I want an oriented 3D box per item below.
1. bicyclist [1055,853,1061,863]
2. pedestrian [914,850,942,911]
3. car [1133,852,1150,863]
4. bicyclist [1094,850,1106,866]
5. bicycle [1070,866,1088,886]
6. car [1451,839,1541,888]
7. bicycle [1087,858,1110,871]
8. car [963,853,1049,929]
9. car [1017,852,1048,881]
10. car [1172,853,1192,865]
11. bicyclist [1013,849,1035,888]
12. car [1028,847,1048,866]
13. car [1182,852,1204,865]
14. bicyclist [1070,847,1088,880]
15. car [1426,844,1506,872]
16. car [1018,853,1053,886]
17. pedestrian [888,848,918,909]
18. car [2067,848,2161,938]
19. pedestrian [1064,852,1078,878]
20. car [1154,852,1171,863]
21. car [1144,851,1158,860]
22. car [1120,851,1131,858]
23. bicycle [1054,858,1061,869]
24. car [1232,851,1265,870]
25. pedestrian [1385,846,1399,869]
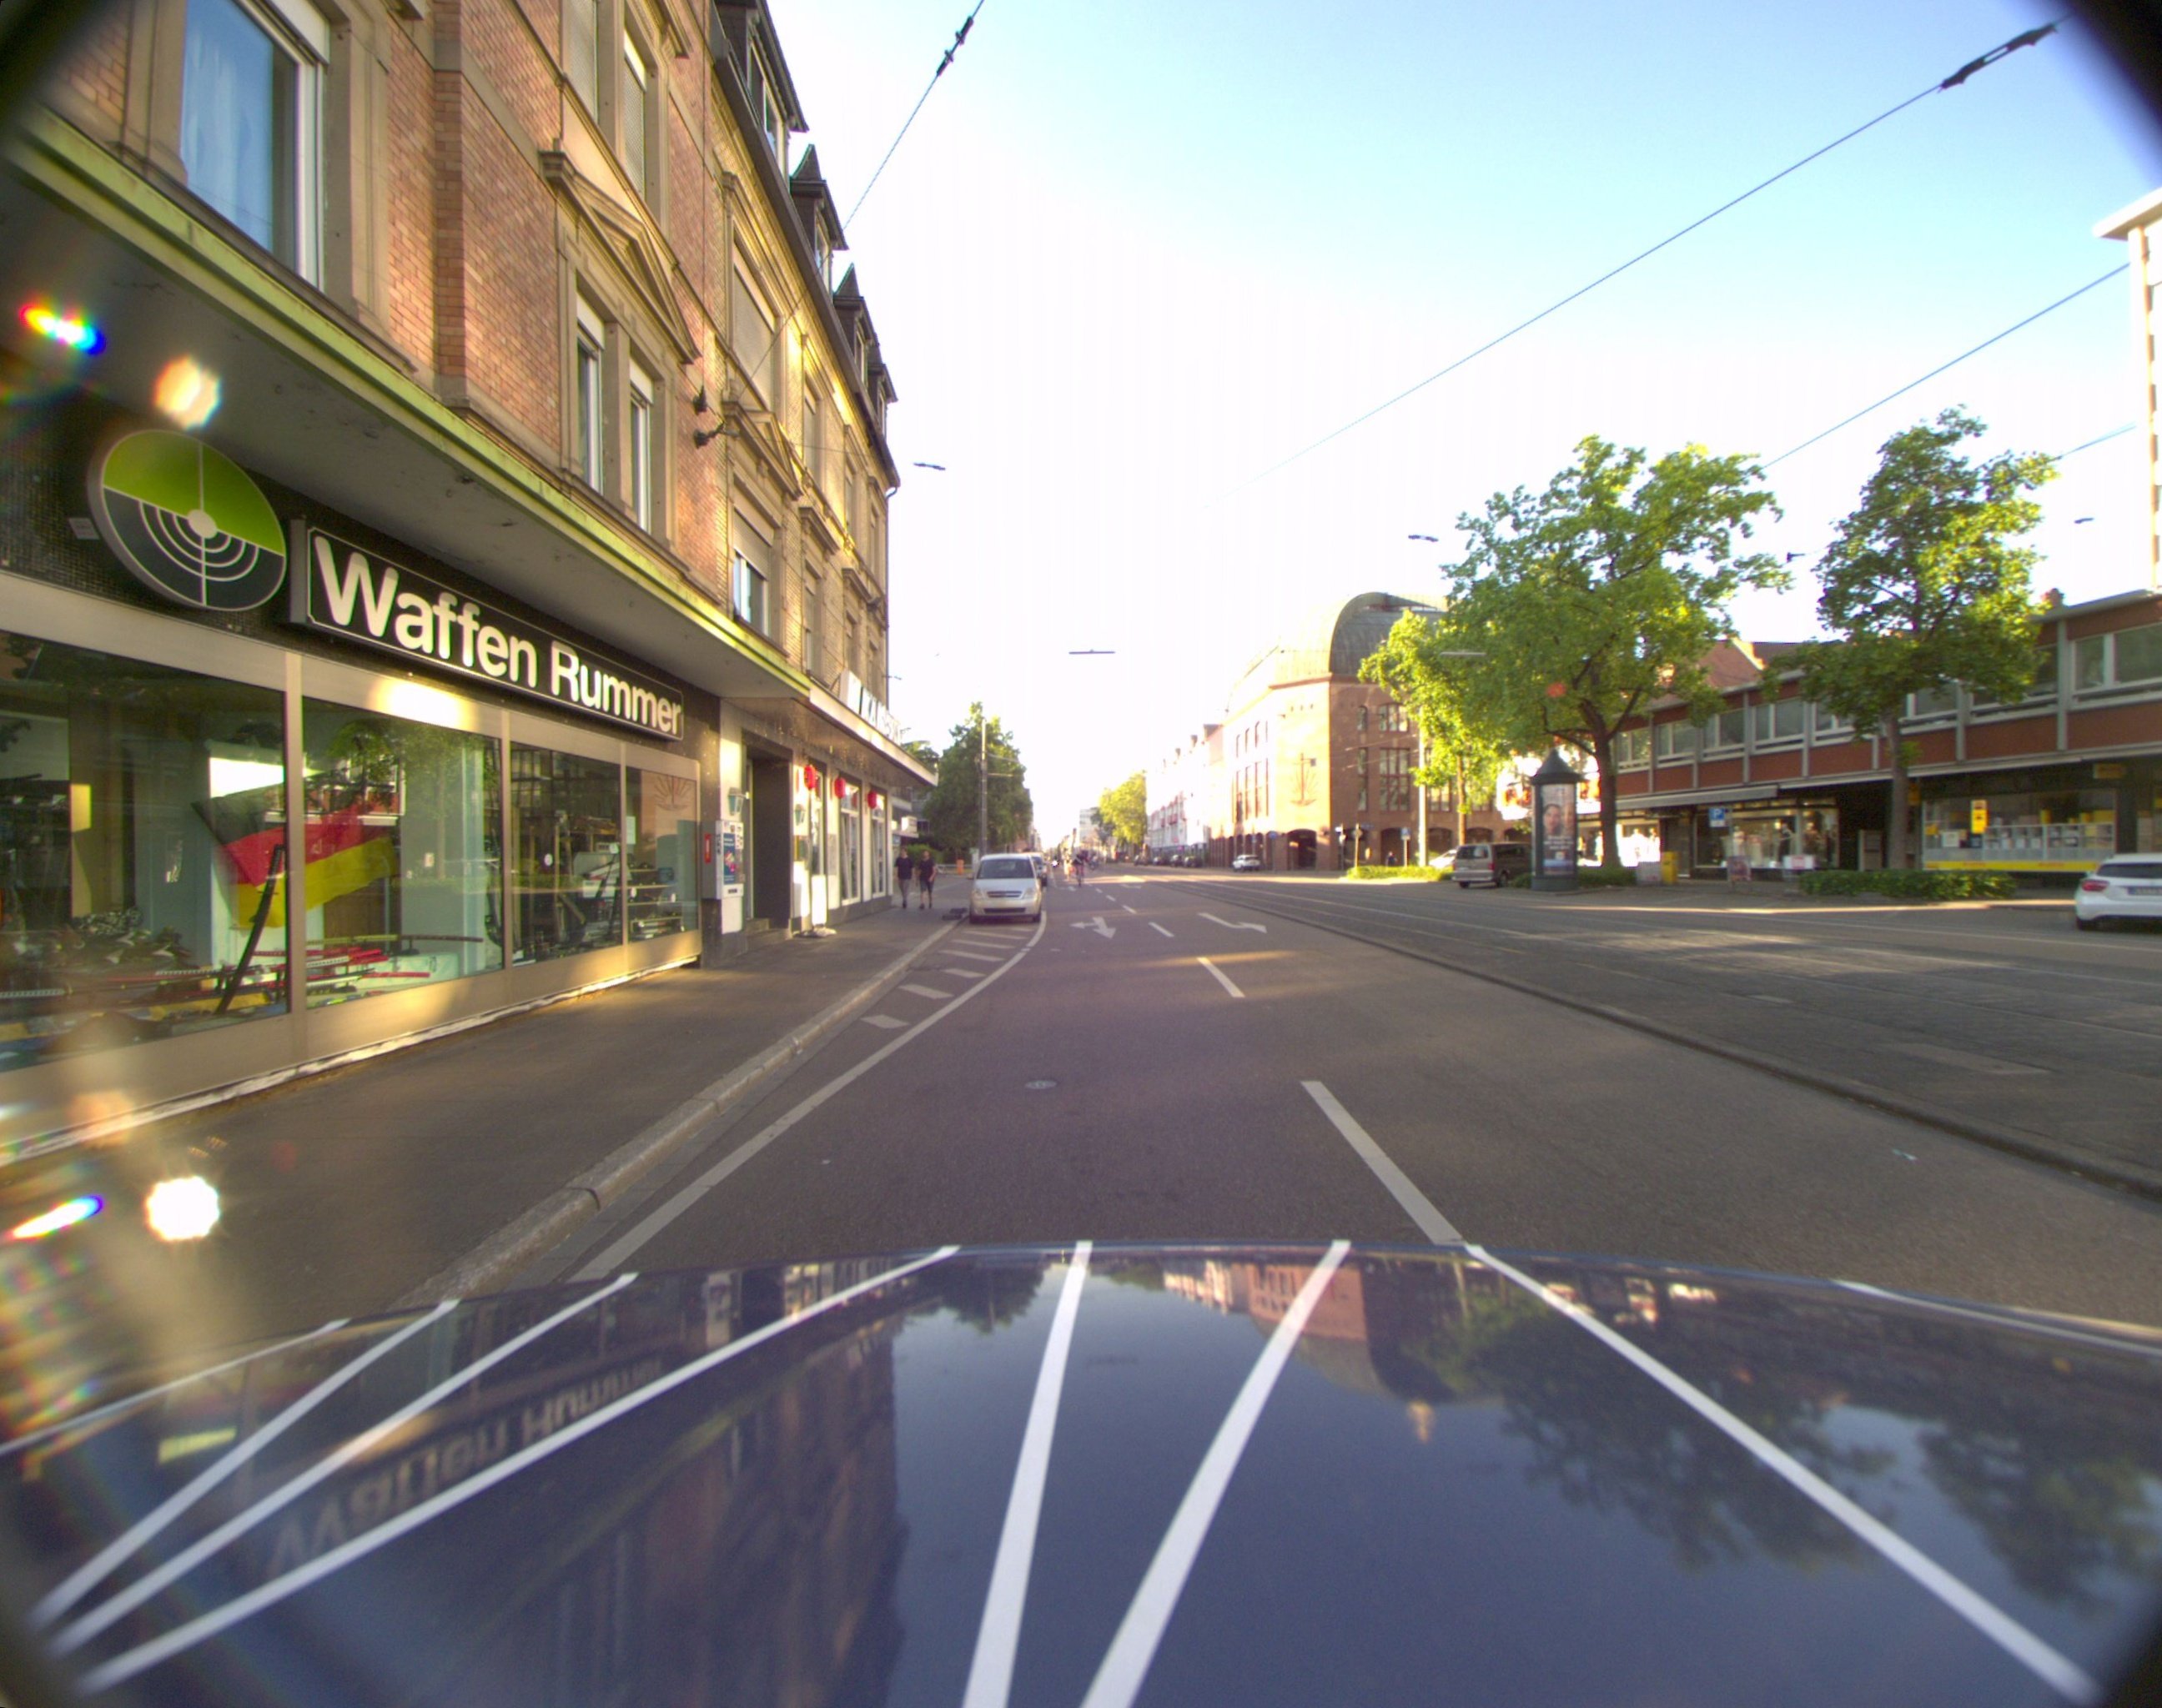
[{"bbox_3d":[-2.537,0.455,84.268,0.646,1.176,0.722,0,0,-5],"label":"bicyclist"},{"bbox_3d":[-4.406,0.749,21.880,0.701,1.713,0.502,1,1,-1],"label":"pedestrian"},{"bbox_3d":[9.152,0.483,116.106,1.965,1.594,3.998,-2,1,-4],"label":"car"},{"bbox_3d":[1.705,0.389,67.788,0.762,1.414,0.674,0,1,34],"label":"bicyclist"},{"bbox_3d":[-0.082,1.090,38.546,0.886,0.949,1.765,0,0,1],"label":"bicycle"},{"bbox_3d":[18.141,0.372,33.166,4.007,1.953,1.906,-2,1,-37],"label":"car"},{"bbox_3d":[1.563,0.948,67.892,2.033,1.085,0.674,0,1,34],"label":"bicycle"},{"bbox_3d":[-1.757,0.814,18.885,1.671,1.674,4.000,-1,0,1],"label":"car"},{"bbox_3d":[-2.916,0.714,46.313,1.671,1.674,3.999,-1,0,-1],"label":"car"},{"bbox_3d":[13.834,0.702,104.541,1.965,1.594,3.998,-2,1,-4],"label":"car"},{"bbox_3d":[-2.114,0.527,28.449,0.682,1.434,0.944,-2,1,1],"label":"bicyclist"},{"bbox_3d":[-3.949,0.238,70.699,1.671,1.674,3.999,-1,0,-1],"label":"car"},{"bbox_3d":[14.439,0.569,98.083,1.965,1.594,3.998,-2,1,-4],"label":"car"},{"bbox_3d":[-0.085,0.479,38.479,0.886,1.650,0.803,0,1,1],"label":"bicyclist"},{"bbox_3d":[28.588,0.260,56.458,4.985,2.002,1.999,0,0,-4],"label":"car"},{"bbox_3d":[-2.405,0.770,40.896,1.671,1.674,3.999,-1,0,-1],"label":"car"},{"bbox_3d":[-5.143,0.703,22.000,0.701,1.713,0.681,1,1,-1],"label":"pedestrian"},{"bbox_3d":[20.543,0.677,14.524,4.007,1.466,1.793,-2,1,-34],"label":"car"},{"bbox_3d":[-0.656,0.689,48.571,0.849,1.652,0.850,0,1,1],"label":"pedestrian"},{"bbox_3d":[13.260,0.536,123.450,1.965,1.594,3.998,-2,1,-4],"label":"car"},{"bbox_3d":[12.842,0.336,139.692,1.965,1.594,3.998,-2,1,-4],"label":"car"},{"bbox_3d":[10.047,0.095,170.496,1.965,1.594,3.998,-2,1,-4],"label":"car"},{"bbox_3d":[-2.585,1.005,84.172,0.646,1.176,1.803,0,0,-5],"label":"bicycle"},{"bbox_3d":[15.602,0.583,71.082,1.911,1.594,3.998,-2,1,-4],"label":"car"},{"bbox_3d":[23.113,0.260,56.445,0.790,1.737,0.548,0,1,1],"label":"pedestrian"}]
